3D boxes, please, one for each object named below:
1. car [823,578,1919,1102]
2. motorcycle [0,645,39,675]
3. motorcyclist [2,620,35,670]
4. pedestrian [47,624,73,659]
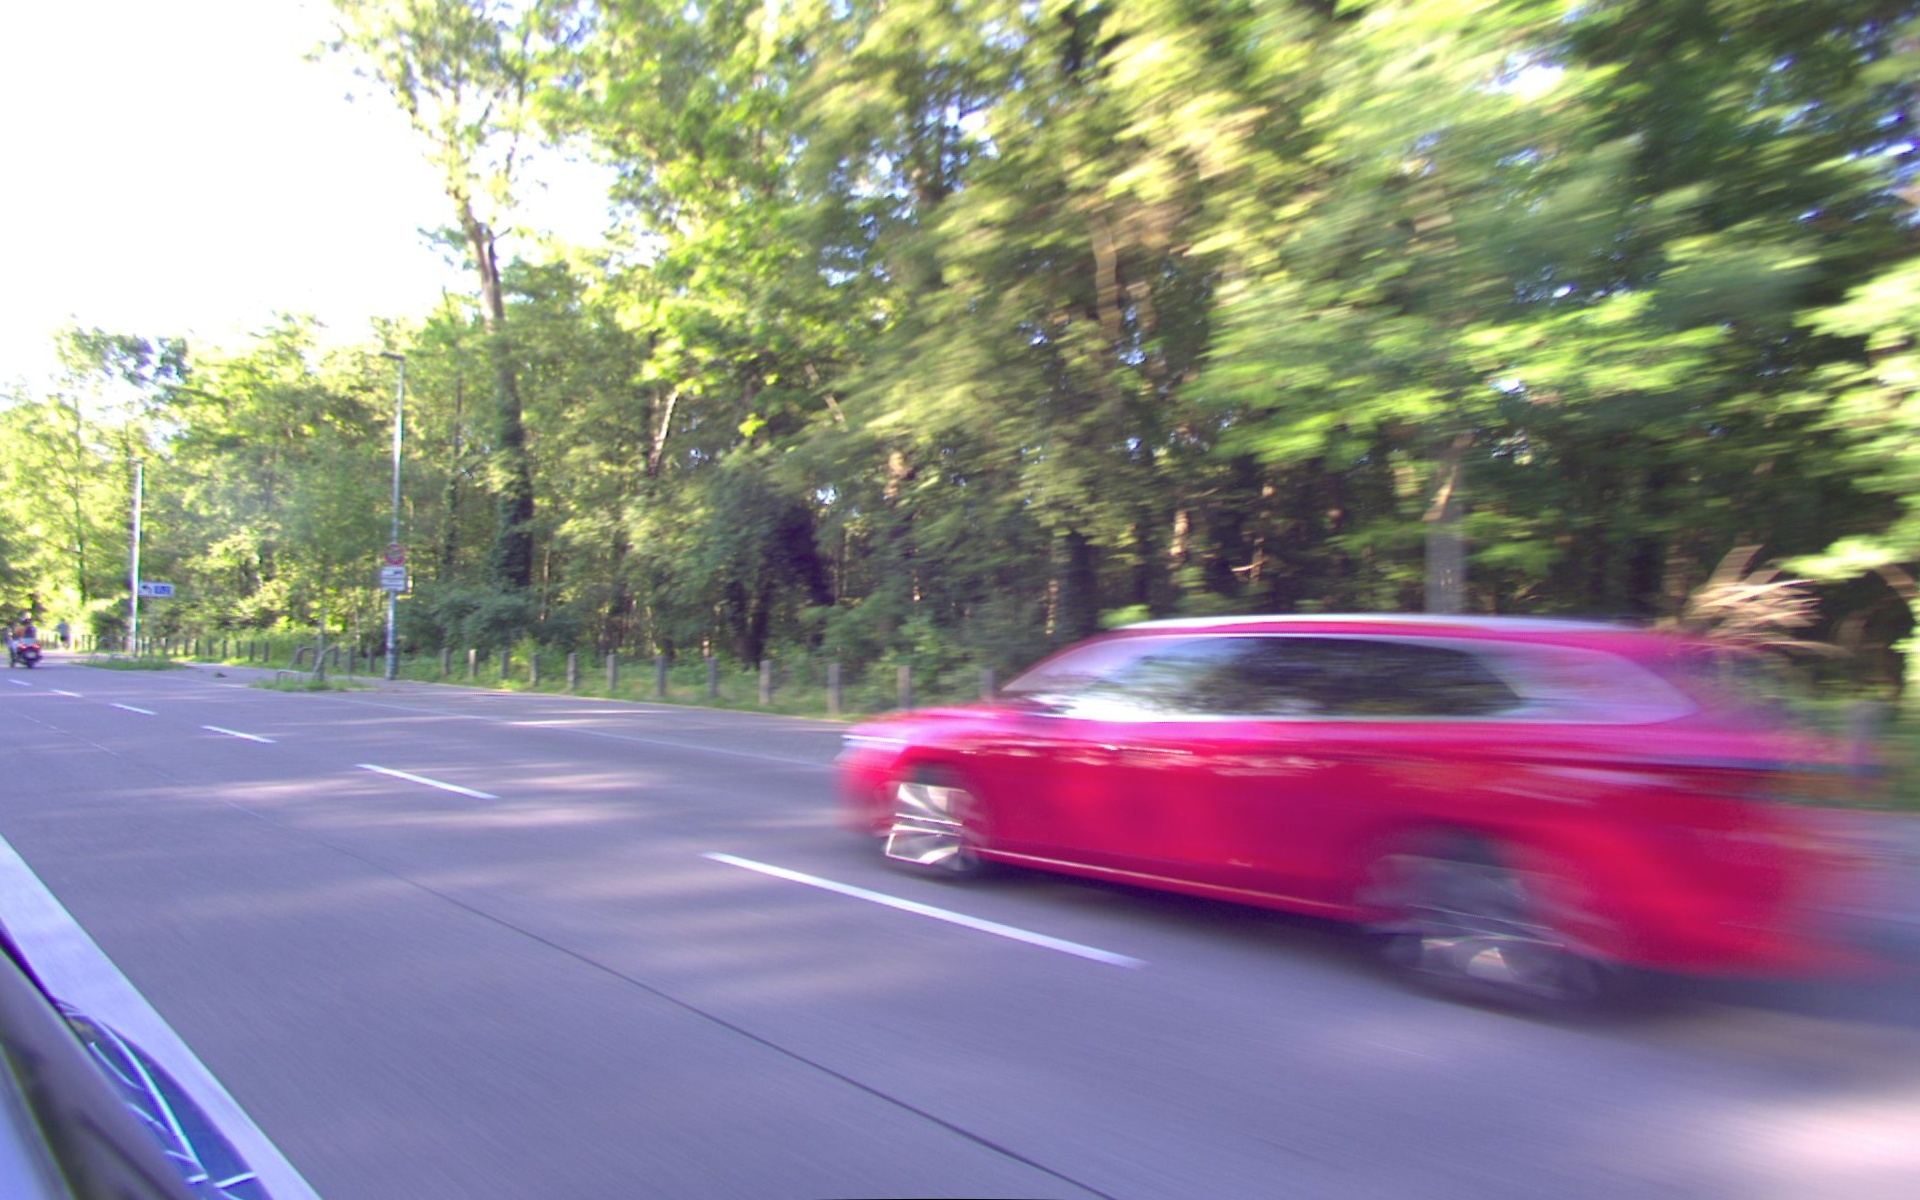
[{"bbox_3d":[1.629,0.742,5.014,4.923,1.474,1.804,-2,-2,41],"label":"car"},{"bbox_3d":[-30.088,1.907,32.353,2.165,0.911,0.662,-1,-2,40],"label":"motorcycle"},{"bbox_3d":[-30.137,1.429,32.406,0.904,1.552,0.649,-1,-2,40],"label":"motorcyclist"},{"bbox_3d":[-46.432,2.119,52.229,0.736,1.781,0.764,-1,-4,34],"label":"pedestrian"}]
